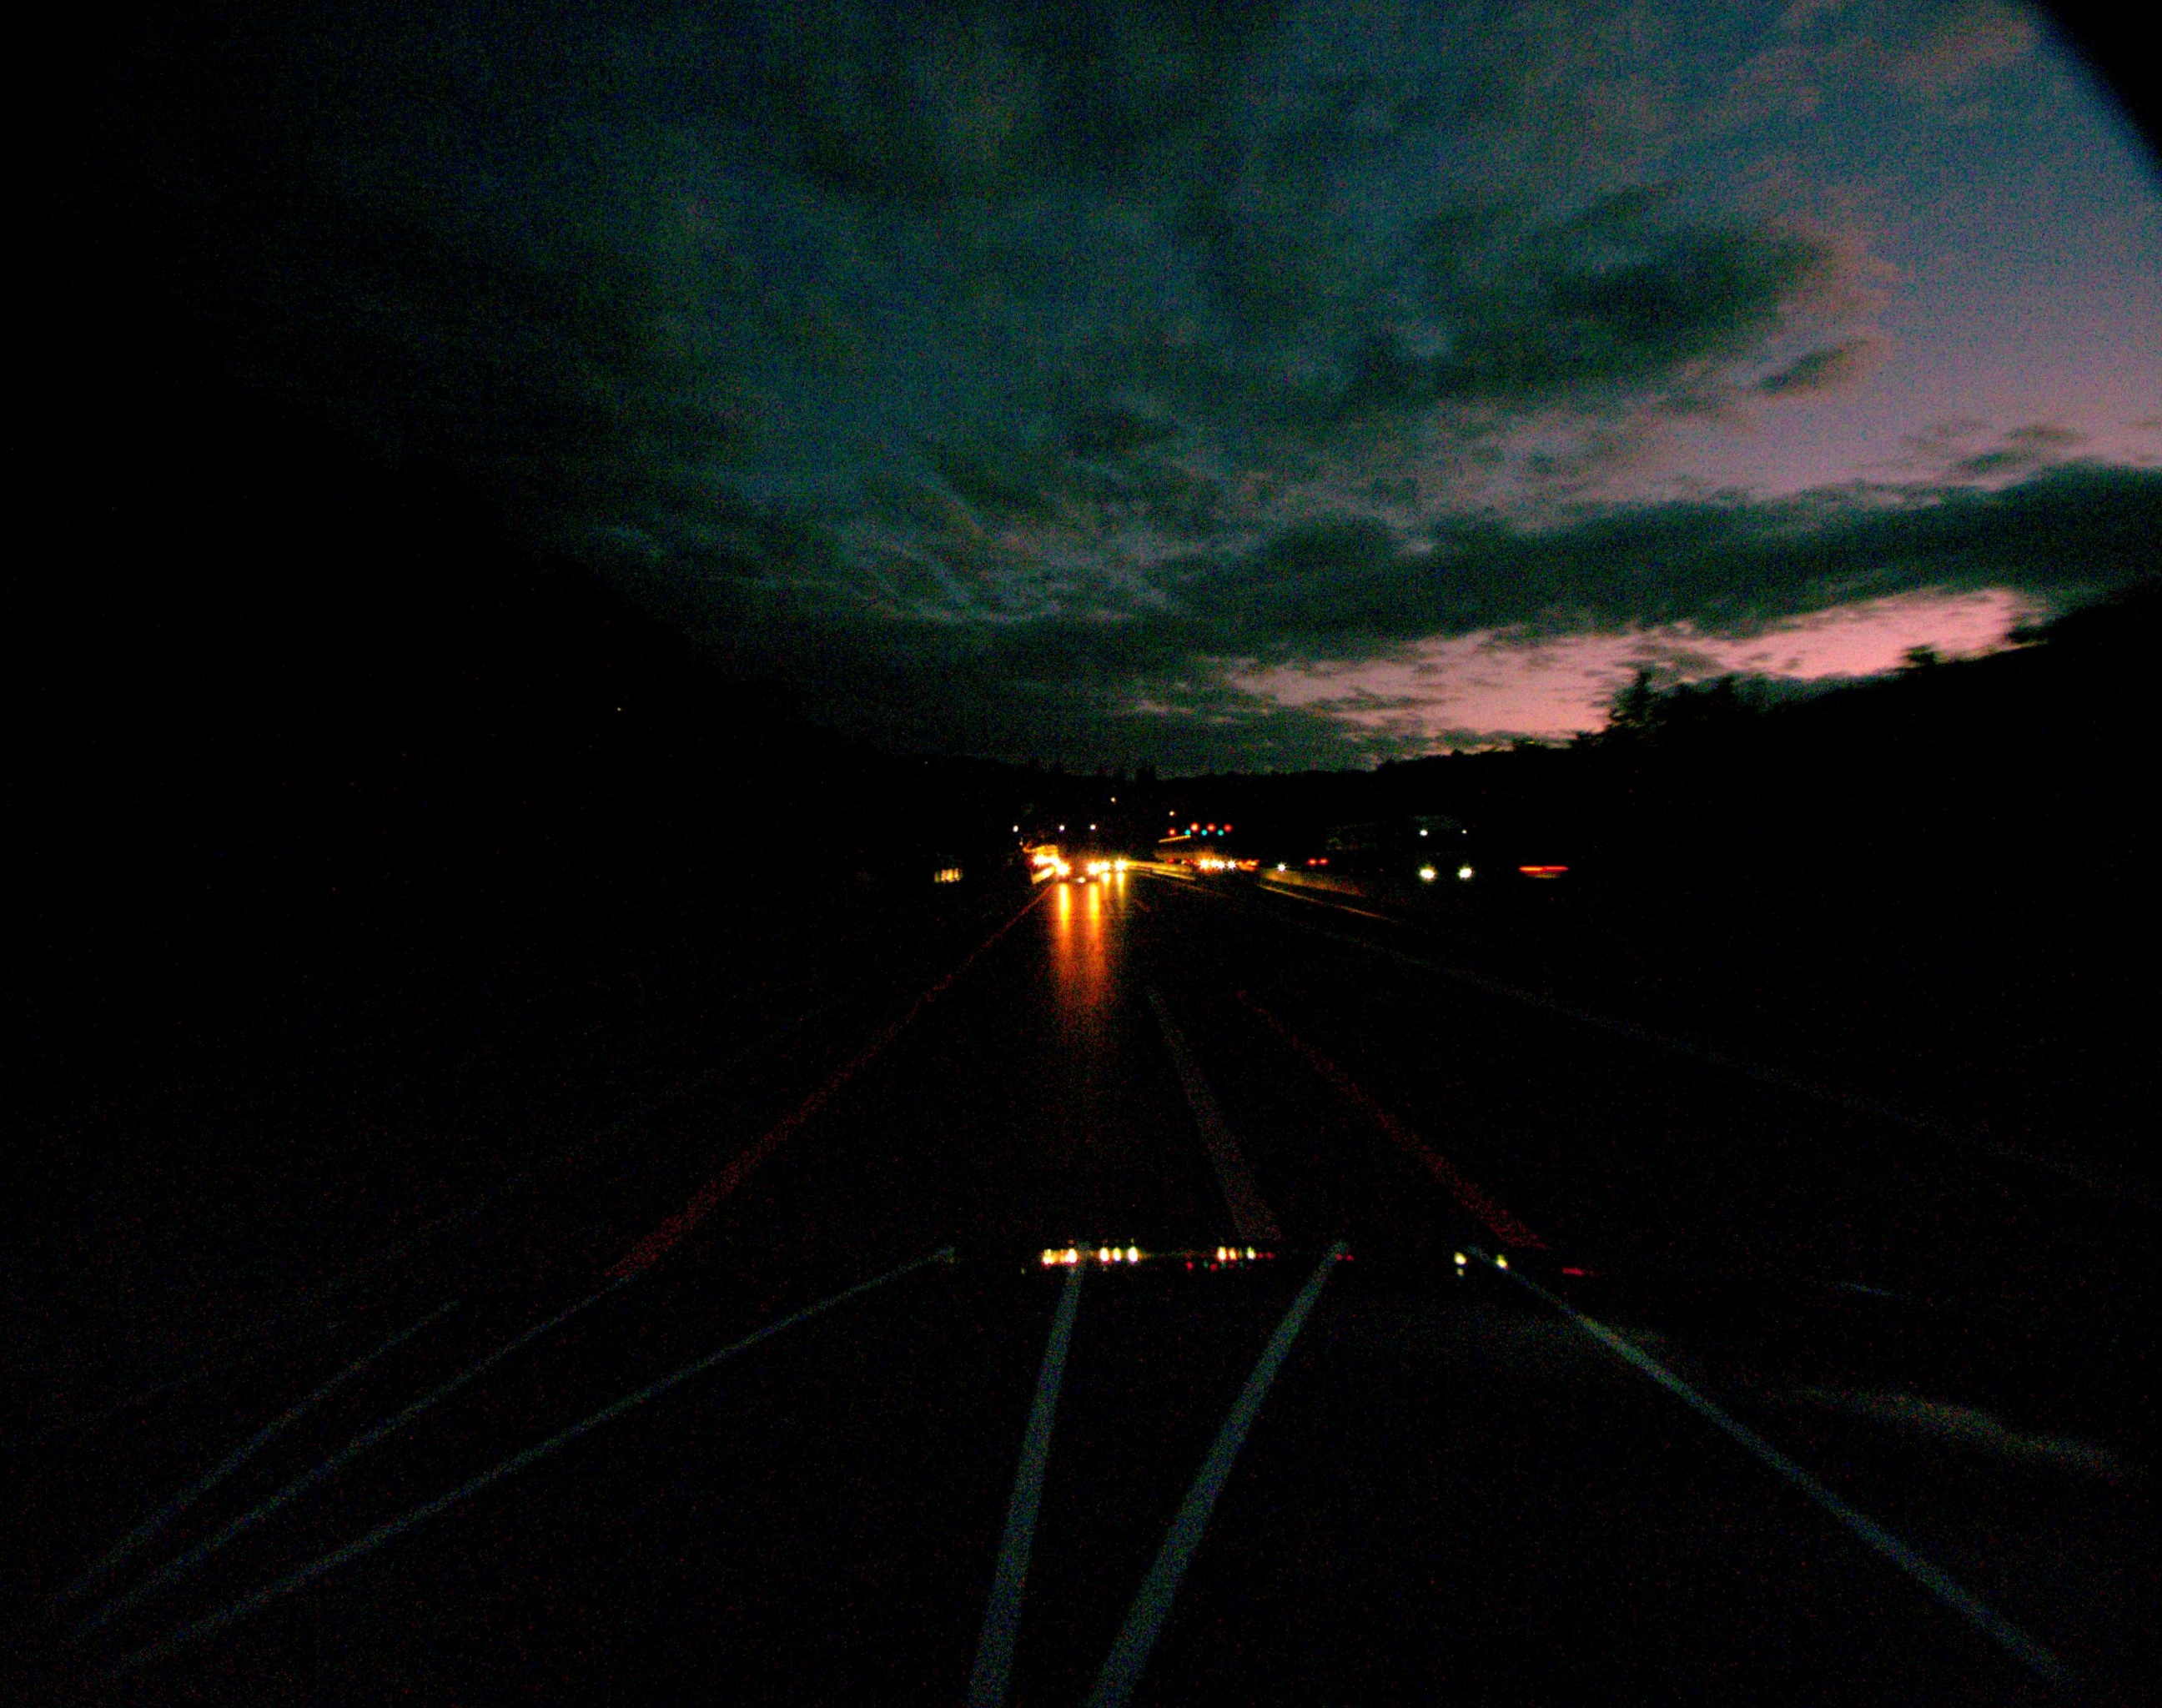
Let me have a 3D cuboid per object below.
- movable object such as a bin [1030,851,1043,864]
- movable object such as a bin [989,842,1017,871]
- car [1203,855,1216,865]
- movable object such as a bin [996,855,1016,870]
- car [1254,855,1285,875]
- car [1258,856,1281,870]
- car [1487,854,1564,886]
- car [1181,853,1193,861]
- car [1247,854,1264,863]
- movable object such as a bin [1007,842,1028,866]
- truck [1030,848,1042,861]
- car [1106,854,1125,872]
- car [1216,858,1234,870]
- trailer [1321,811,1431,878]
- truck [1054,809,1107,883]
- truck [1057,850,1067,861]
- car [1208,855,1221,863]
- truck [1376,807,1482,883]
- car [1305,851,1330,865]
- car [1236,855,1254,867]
[{"bbox_3d":[-10.650,0.778,182.546,2.978,2.811,7.193,-3,1,-3],"label":"movable object such as a bin"},{"bbox_3d":[-8.538,0.249,83.651,2.628,3.090,5.804,-1,1,-1],"label":"movable object such as a bin"},{"bbox_3d":[20.154,0.951,119.281,1.509,1.472,3.824,-2,1,1],"label":"car"},{"bbox_3d":[-8.750,0.955,88.617,1.999,1.592,4.083,0,1,0],"label":"movable object such as a bin"},{"bbox_3d":[19.836,1.122,80.282,2.095,1.873,4.700,-2,1,1],"label":"car"},{"bbox_3d":[24.621,1.185,99.273,1.808,1.628,4.751,-2,1,1],"label":"car"},{"bbox_3d":[25.218,0.838,43.320,1.595,1.594,5.034,-2,1,3],"label":"car"},{"bbox_3d":[23.692,0.592,169.675,1.905,1.728,4.807,-2,1,1],"label":"car"},{"bbox_3d":[30.774,0.809,134.123,1.830,1.476,4.701,-2,1,1],"label":"car"},{"bbox_3d":[-8.936,0.008,106.952,2.571,3.299,5.577,0,1,-1],"label":"movable object such as a bin"},{"bbox_3d":[-11.354,0.076,192.576,2.825,3.267,8.350,-3,1,-2],"label":"truck"},{"bbox_3d":[3.287,0.848,72.253,1.662,1.586,3.997,-2,1,4],"label":"car"},{"bbox_3d":[19.984,1.356,105.527,1.791,1.472,4.000,-2,1,1],"label":"car"},{"bbox_3d":[18.970,-0.579,49.947,2.805,3.761,11.835,-2,1,2],"label":"trailer"},{"bbox_3d":[-0.068,-0.503,50.489,2.954,4.241,11.050,-3,1,-1],"label":"truck"},{"bbox_3d":[-5.121,0.329,204.190,1.998,2.817,6.297,-2,1,5],"label":"truck"},{"bbox_3d":[26.937,1.069,153.112,1.815,1.476,4.701,-2,1,1],"label":"car"},{"bbox_3d":[18.825,-0.483,41.584,2.810,3.753,6.301,-3,1,0],"label":"truck"},{"bbox_3d":[30.030,0.477,96.595,1.808,1.628,4.751,-2,1,1],"label":"car"},{"bbox_3d":[24.481,0.997,113.550,1.683,1.628,4.751,-2,1,1],"label":"car"}]
